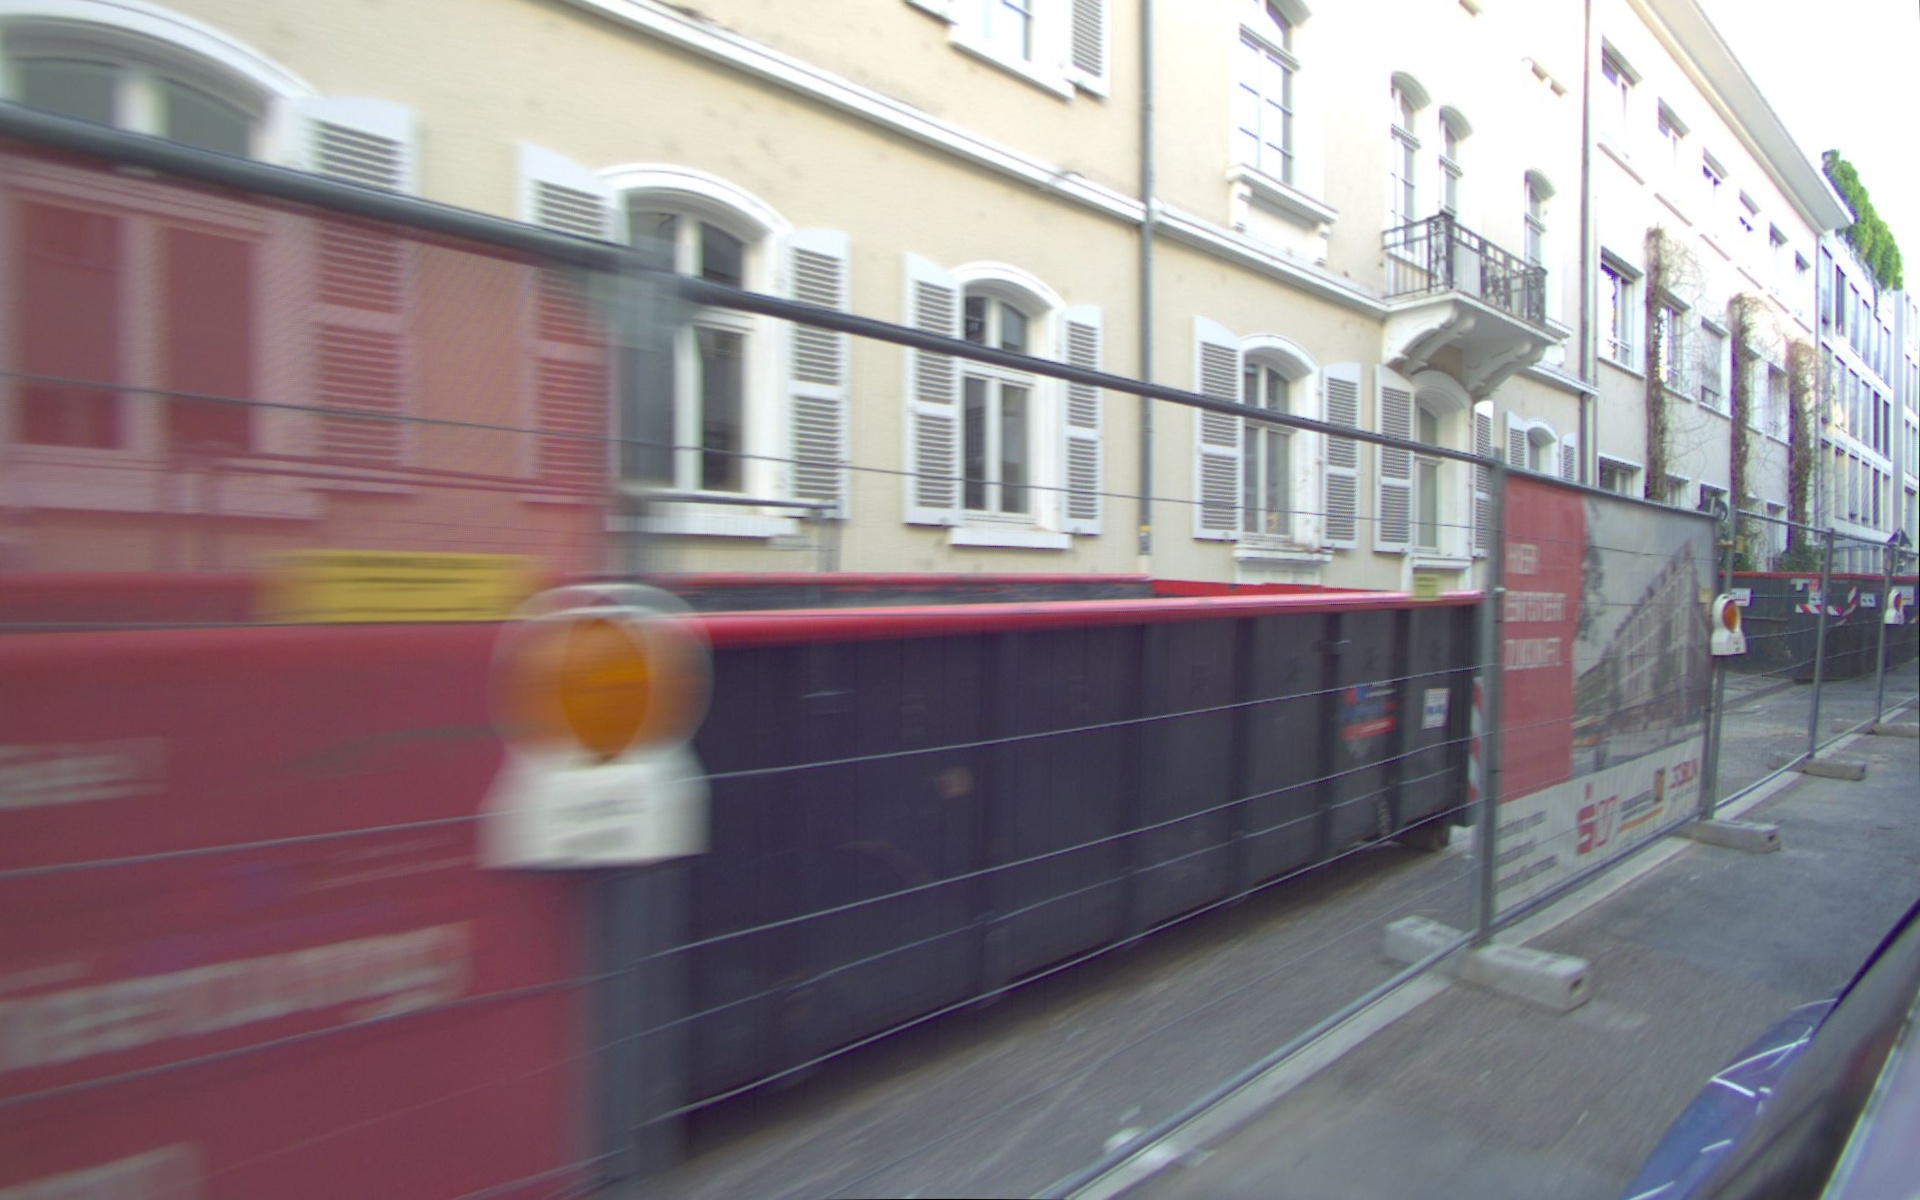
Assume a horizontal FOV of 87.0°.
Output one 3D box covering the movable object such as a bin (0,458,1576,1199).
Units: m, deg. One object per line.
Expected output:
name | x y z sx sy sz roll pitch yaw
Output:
movable object such as a bin | -0.146 0.598 4.333 7.170 1.685 2.894 -1 2 -43
